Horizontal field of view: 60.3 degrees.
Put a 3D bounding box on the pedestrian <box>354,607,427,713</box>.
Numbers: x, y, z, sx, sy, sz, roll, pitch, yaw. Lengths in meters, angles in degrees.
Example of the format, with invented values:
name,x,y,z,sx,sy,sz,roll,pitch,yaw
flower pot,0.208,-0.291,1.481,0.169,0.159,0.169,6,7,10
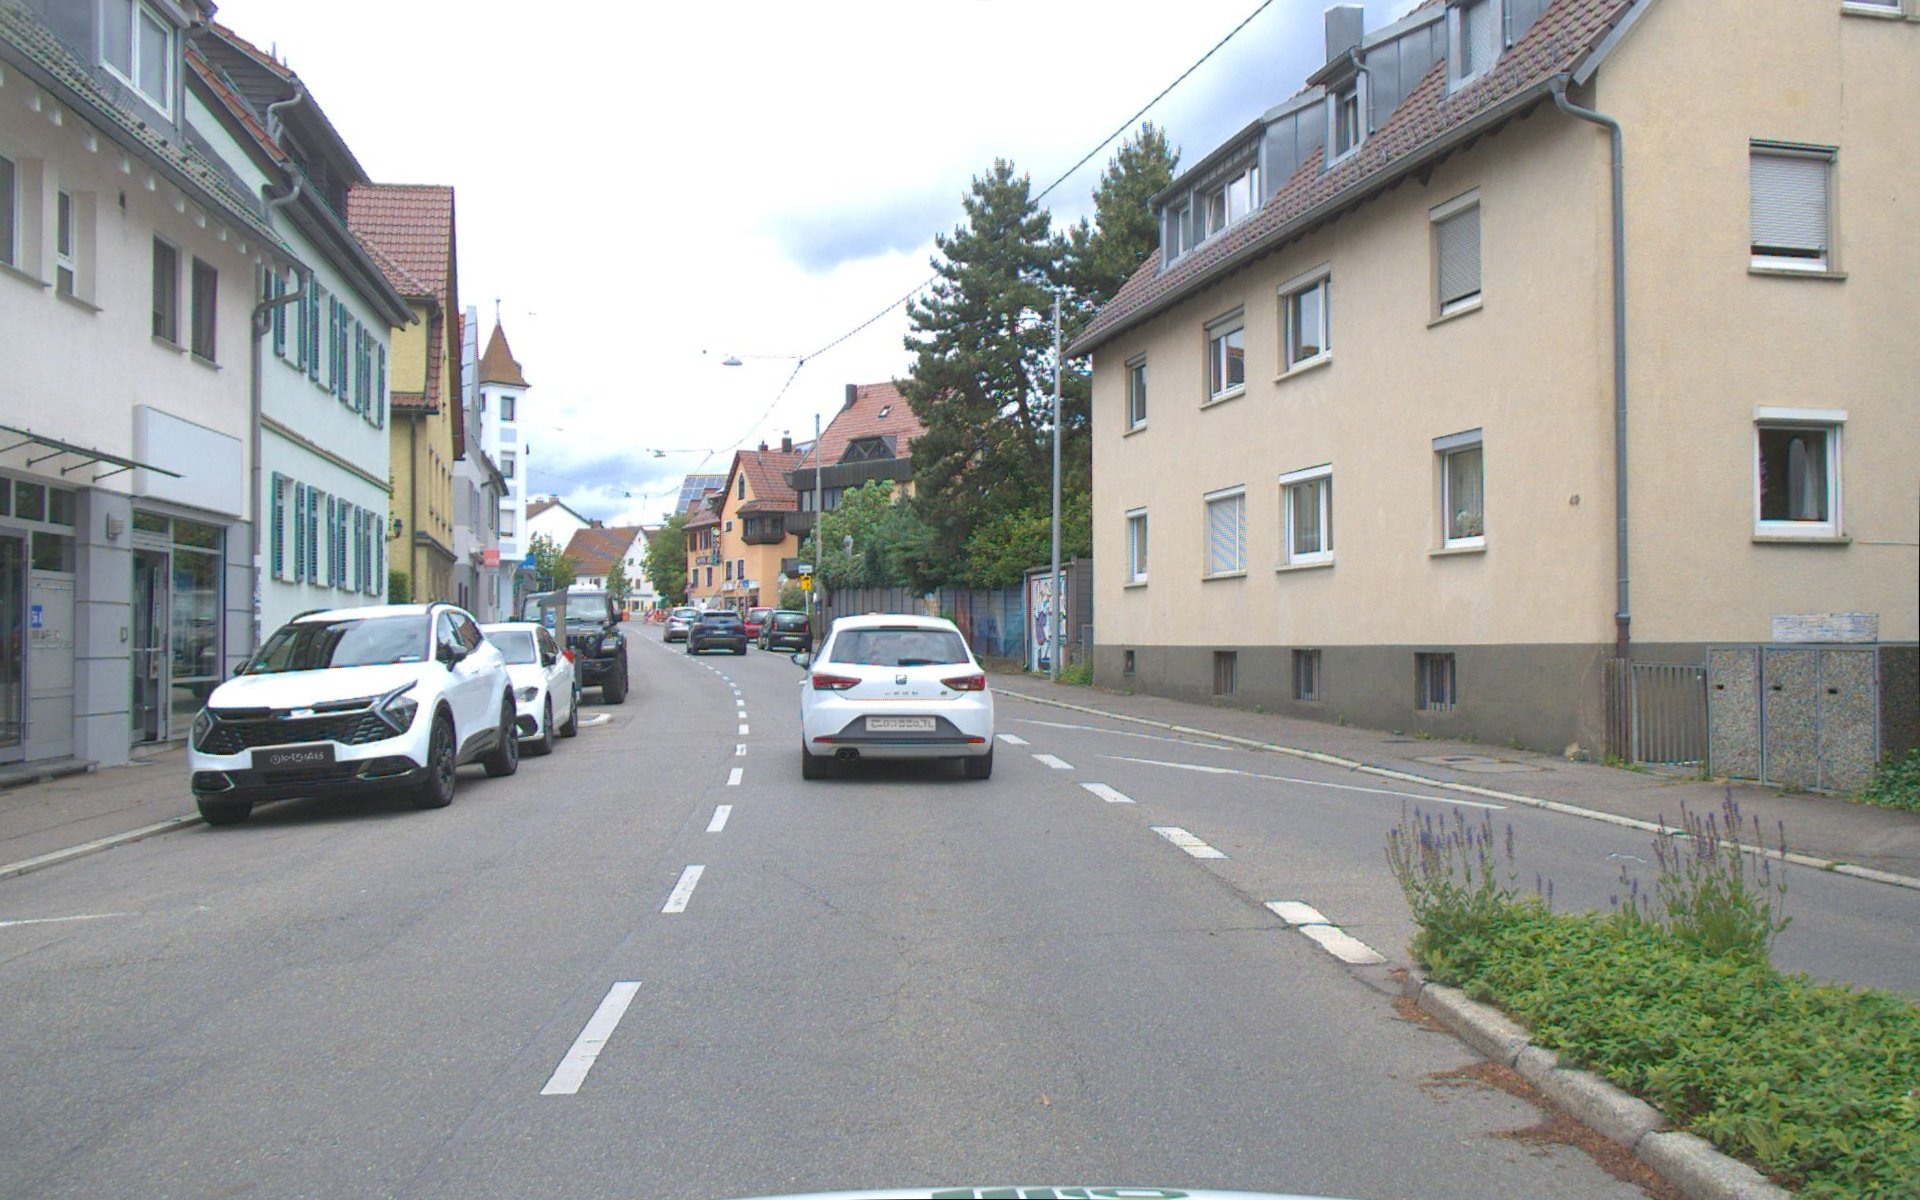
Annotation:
name,x,y,z,sx,sy,sz,roll,pitch,yaw
pedestrian,-8.440,0.883,24.562,0.791,1.526,0.974,2,-1,-8

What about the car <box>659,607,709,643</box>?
name,x,y,z,sx,sy,sz,roll,pitch,yaw
car,-11.618,1.030,69.505,1.729,1.477,3.985,0,0,-14

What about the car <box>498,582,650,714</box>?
name,x,y,z,sx,sy,sz,roll,pitch,yaw
car,-6.693,0.770,29.176,1.955,2.048,4.664,-2,0,-6

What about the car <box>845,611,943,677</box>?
name,x,y,z,sx,sy,sz,roll,pitch,yaw
car,-1.663,1.048,40.494,1.727,1.477,3.988,2,-1,-12

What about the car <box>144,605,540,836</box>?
name,x,y,z,sx,sy,sz,roll,pitch,yaw
car,-5.100,0.890,14.460,1.959,1.662,4.853,1,0,-5

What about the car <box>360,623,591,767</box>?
name,x,y,z,sx,sy,sz,roll,pitch,yaw
car,-5.539,1.033,19.411,1.960,1.461,3.912,1,0,-7

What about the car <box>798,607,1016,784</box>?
name,x,y,z,sx,sy,sz,roll,pitch,yaw
car,-0.631,0.811,15.948,1.725,1.477,3.993,0,0,-7

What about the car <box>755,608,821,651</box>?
name,x,y,z,sx,sy,sz,roll,pitch,yaw
car,-6.199,1.035,59.354,1.730,1.477,3.983,0,0,-16

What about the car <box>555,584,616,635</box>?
name,x,y,z,sx,sy,sz,roll,pitch,yaw
car,-20.814,0.529,92.236,2.108,2.734,5.544,1,0,0

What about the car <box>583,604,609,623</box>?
name,x,y,z,sx,sy,sz,roll,pitch,yaw
car,-34.168,1.267,155.352,1.758,1.731,3.998,1,0,-2

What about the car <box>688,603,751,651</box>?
name,x,y,z,sx,sy,sz,roll,pitch,yaw
car,-7.795,0.852,53.323,1.728,1.477,3.987,0,0,-13

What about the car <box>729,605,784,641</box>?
name,x,y,z,sx,sy,sz,roll,pitch,yaw
car,-8.630,0.959,69.939,1.730,1.477,3.983,0,0,-16
